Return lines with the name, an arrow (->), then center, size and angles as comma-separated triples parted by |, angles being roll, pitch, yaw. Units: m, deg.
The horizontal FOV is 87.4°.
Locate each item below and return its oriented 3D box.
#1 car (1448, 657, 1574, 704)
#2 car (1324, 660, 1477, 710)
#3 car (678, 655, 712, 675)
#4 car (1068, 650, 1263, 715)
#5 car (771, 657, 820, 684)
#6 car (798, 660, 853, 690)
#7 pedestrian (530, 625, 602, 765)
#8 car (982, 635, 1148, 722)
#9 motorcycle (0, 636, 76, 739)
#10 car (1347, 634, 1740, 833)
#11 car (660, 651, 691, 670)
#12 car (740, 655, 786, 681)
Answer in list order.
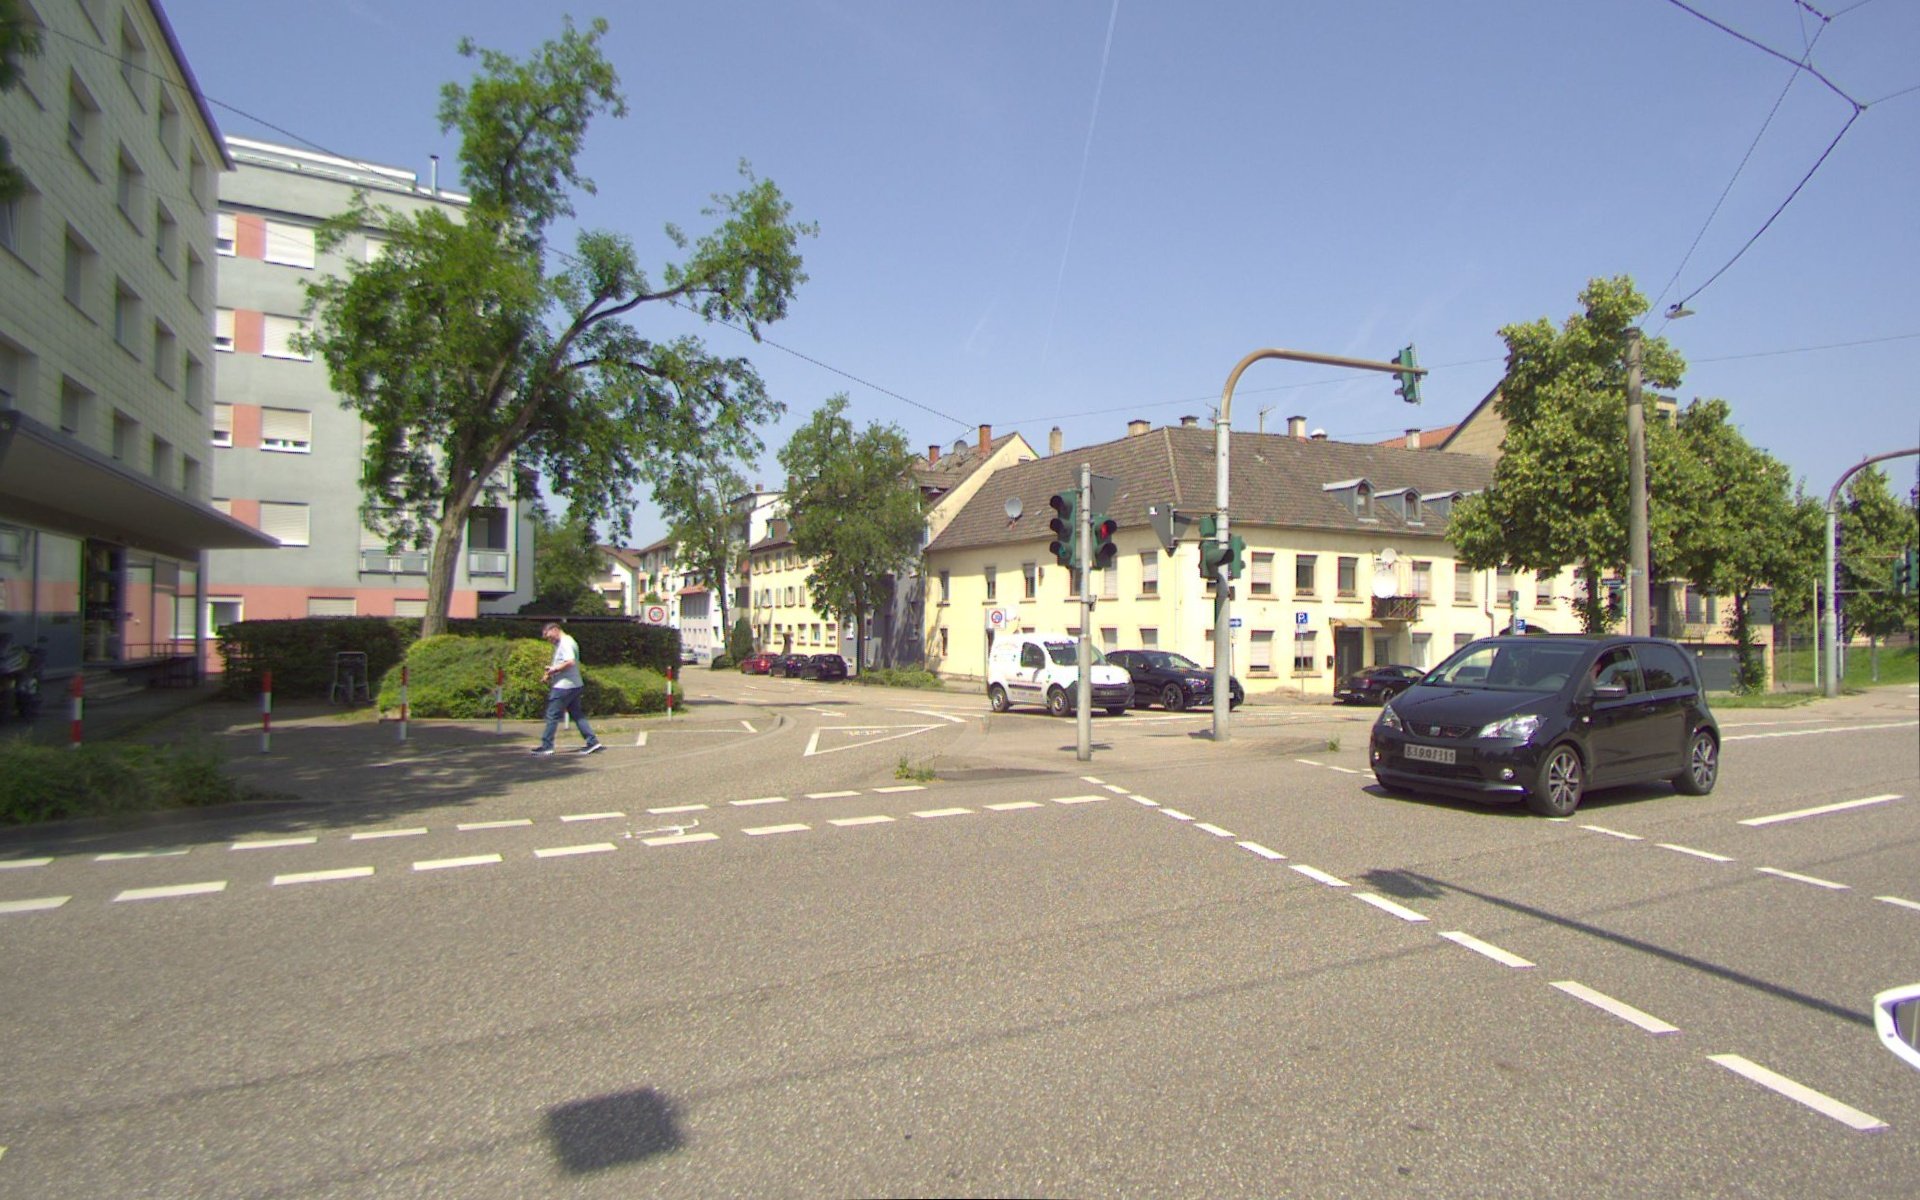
car -> 20.347, 2.935, 37.108 | 4.365, 1.451, 1.772 | 0, 0, -23
car -> 15.439, 2.945, 35.187 | 5.210, 1.649, 1.812 | 1, -4, -23
car -> -22.545, 5.489, 85.261 | 1.814, 1.425, 4.297 | 1, -1, -28
car -> 4.901, 2.006, 24.666 | 2.094, 1.419, 4.580 | 1, -5, -33
car -> -10.219, 4.321, 62.197 | 1.787, 1.425, 3.970 | 1, -1, -28
car -> -7.725, 4.232, 57.375 | 1.787, 1.425, 3.970 | 1, -1, -28
pedestrian -> -5.204, 1.233, 13.272 | 0.734, 1.783, 0.624 | 3, -3, -30
car -> 2.253, 1.722, 22.428 | 1.872, 1.757, 3.668 | 2, -4, -31
motorcycle -> -14.258, 1.295, 15.299 | 0.706, 1.439, 1.906 | 3, -2, -28
car -> 5.457, 1.074, 9.310 | 3.667, 1.475, 1.608 | 1, -1, -31
car -> -25.746, 5.470, 90.898 | 1.814, 1.425, 4.297 | 1, -1, -28
car -> -13.305, 4.563, 67.685 | 1.814, 1.425, 4.297 | 1, -1, -28
